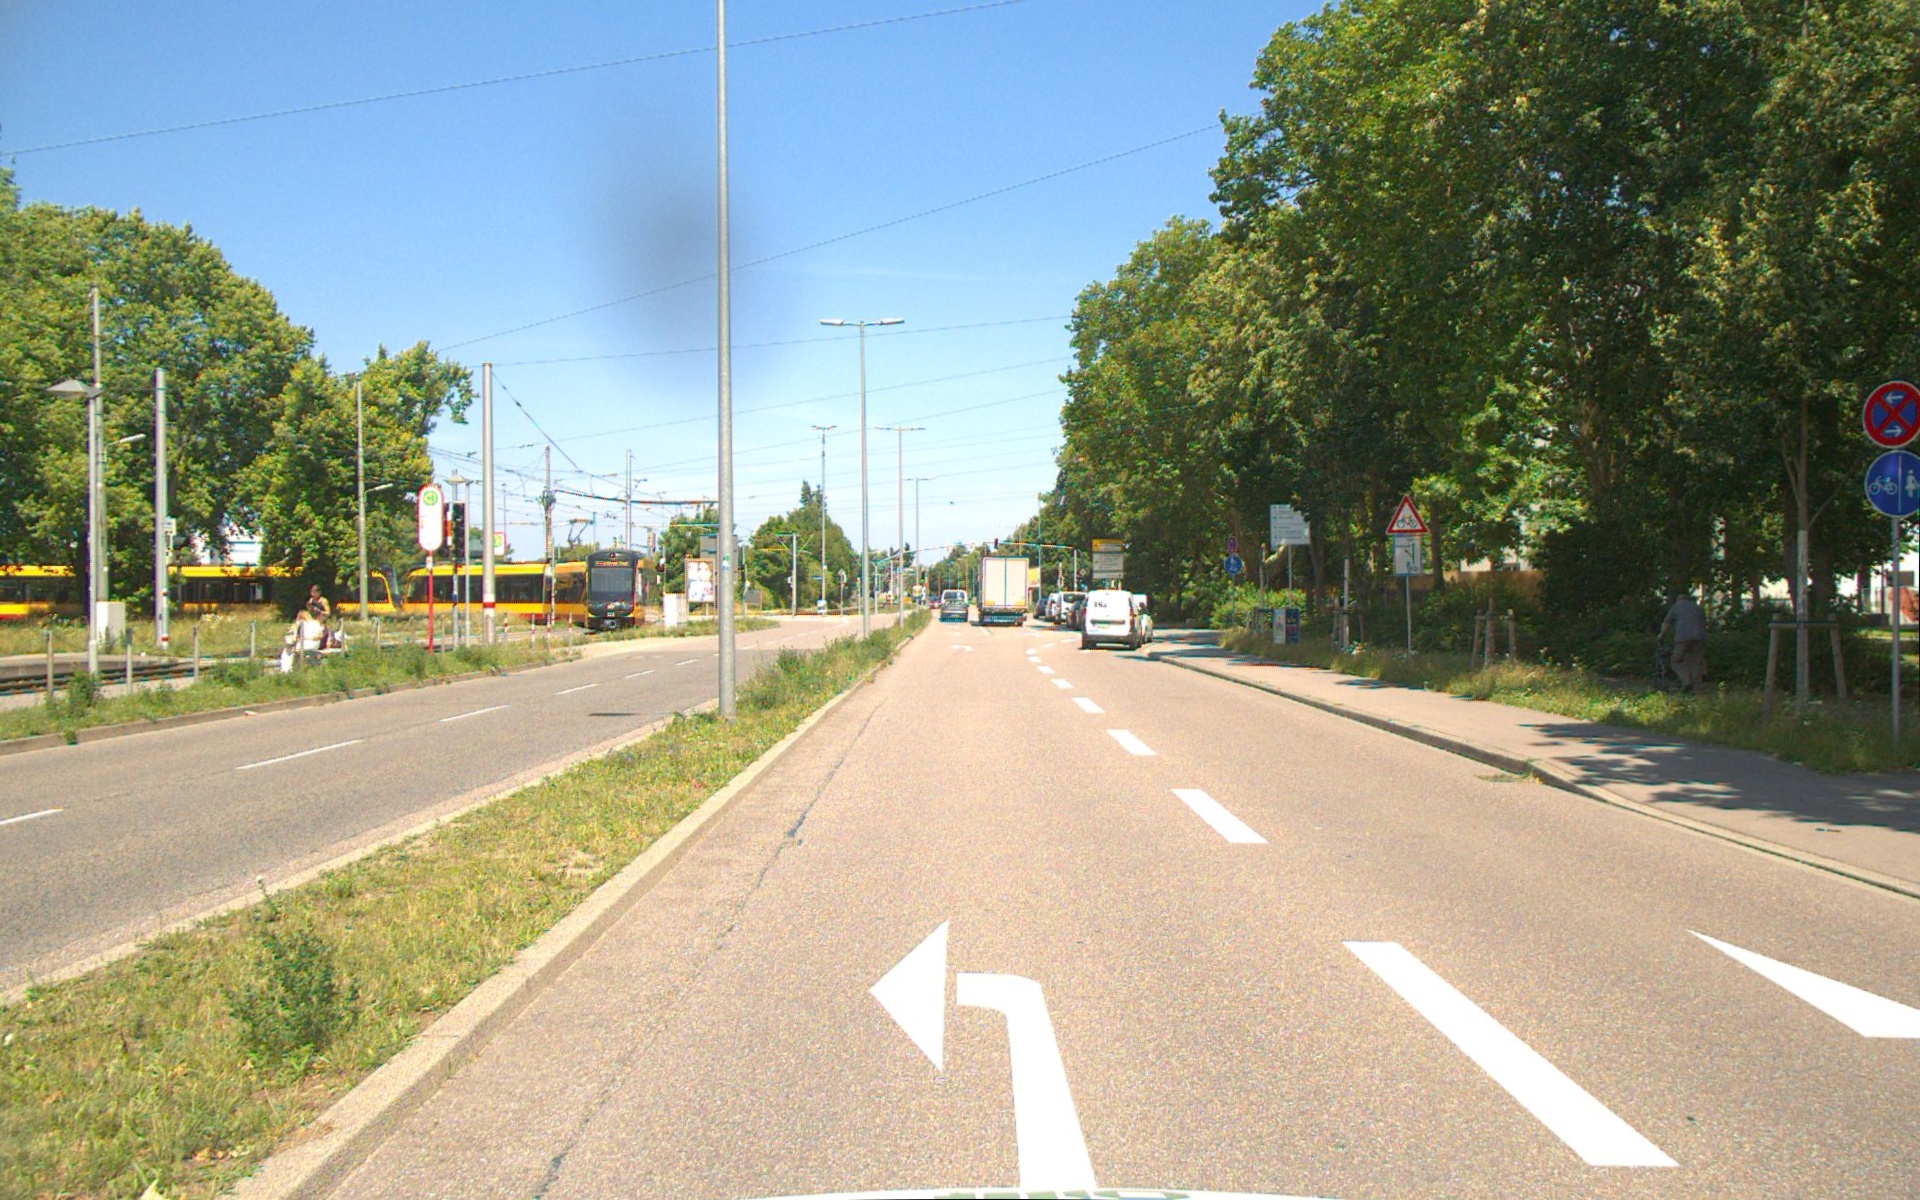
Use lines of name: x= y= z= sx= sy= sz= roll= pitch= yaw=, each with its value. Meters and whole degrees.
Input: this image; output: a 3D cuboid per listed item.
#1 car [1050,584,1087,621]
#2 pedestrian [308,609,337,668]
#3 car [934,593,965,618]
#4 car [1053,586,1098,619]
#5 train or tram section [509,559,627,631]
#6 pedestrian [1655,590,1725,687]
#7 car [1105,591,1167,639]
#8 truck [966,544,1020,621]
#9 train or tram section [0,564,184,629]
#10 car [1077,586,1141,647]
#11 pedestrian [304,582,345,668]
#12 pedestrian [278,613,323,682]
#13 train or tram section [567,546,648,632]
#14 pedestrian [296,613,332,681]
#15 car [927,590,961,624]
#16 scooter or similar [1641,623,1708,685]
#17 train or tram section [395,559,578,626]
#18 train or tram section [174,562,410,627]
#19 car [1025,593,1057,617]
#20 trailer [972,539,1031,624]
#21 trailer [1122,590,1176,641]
car: x=6.544 y=0.122 z=100.232 sx=1.852 sy=2.158 sz=3.886 roll=1 pitch=0 yaw=-2
pedestrian: x=-11.842 y=0.712 z=30.713 sx=0.375 sy=1.077 sz=0.377 roll=1 pitch=0 yaw=-2
car: x=-0.673 y=0.351 z=104.345 sx=1.854 sy=1.396 sz=4.428 roll=2 pitch=-2 yaw=-1
car: x=5.773 y=0.125 z=83.029 sx=1.820 sy=1.576 sz=3.886 roll=1 pitch=0 yaw=-2
train or tram section: x=-20.504 y=-0.302 z=85.994 sx=3.006 sy=3.526 sz=10.117 roll=1 pitch=0 yaw=-31
pedestrian: x=10.988 y=0.572 z=24.914 sx=0.693 sy=1.422 sz=0.763 roll=1 pitch=0 yaw=1
car: x=6.472 y=0.527 z=61.197 sx=1.665 sy=1.683 sz=4.397 roll=1 pitch=0 yaw=-2
truck: x=1.978 y=-1.104 z=101.634 sx=2.770 sy=4.420 sz=8.282 roll=2 pitch=1 yaw=-2
train or tram section: x=-50.303 y=-0.202 z=94.970 sx=10.094 sy=3.526 sz=3.012 roll=1 pitch=0 yaw=-33
car: x=4.610 y=0.476 z=51.795 sx=1.674 sy=1.778 sz=4.428 roll=1 pitch=0 yaw=1
pedestrian: x=-11.993 y=0.467 z=31.205 sx=0.524 sy=1.593 sz=0.582 roll=1 pitch=0 yaw=-2
pedestrian: x=-11.868 y=0.854 z=29.757 sx=0.569 sy=1.210 sz=0.536 roll=1 pitch=0 yaw=-1
train or tram section: x=-16.090 y=-0.514 z=74.830 sx=2.985 sy=3.526 sz=13.241 roll=1 pitch=0 yaw=-14
pedestrian: x=-11.810 y=0.856 z=30.257 sx=0.484 sy=1.210 sz=0.400 roll=1 pitch=0 yaw=-3
car: x=-1.100 y=0.464 z=111.327 sx=1.955 sy=2.148 sz=4.743 roll=0 pitch=1 yaw=-5
scooter or similar: x=11.004 y=0.826 z=25.485 sx=0.693 sy=0.909 sz=0.763 roll=1 pitch=0 yaw=1
train or tram section: x=-27.233 y=-0.489 z=94.694 sx=12.496 sy=3.526 sz=3.035 roll=1 pitch=0 yaw=36
train or tram section: x=-39.324 y=-0.329 z=97.825 sx=12.466 sy=3.526 sz=3.042 roll=1 pitch=0 yaw=-7
car: x=5.366 y=0.329 z=109.849 sx=1.952 sy=1.462 sz=4.251 roll=0 pitch=1 yaw=0
trailer: x=2.253 y=-1.002 z=93.162 sx=2.770 sy=4.499 sz=8.746 roll=1 pitch=0 yaw=-2
trailer: x=6.550 y=0.533 z=57.524 sx=1.439 sy=1.698 sz=2.855 roll=1 pitch=0 yaw=-2
